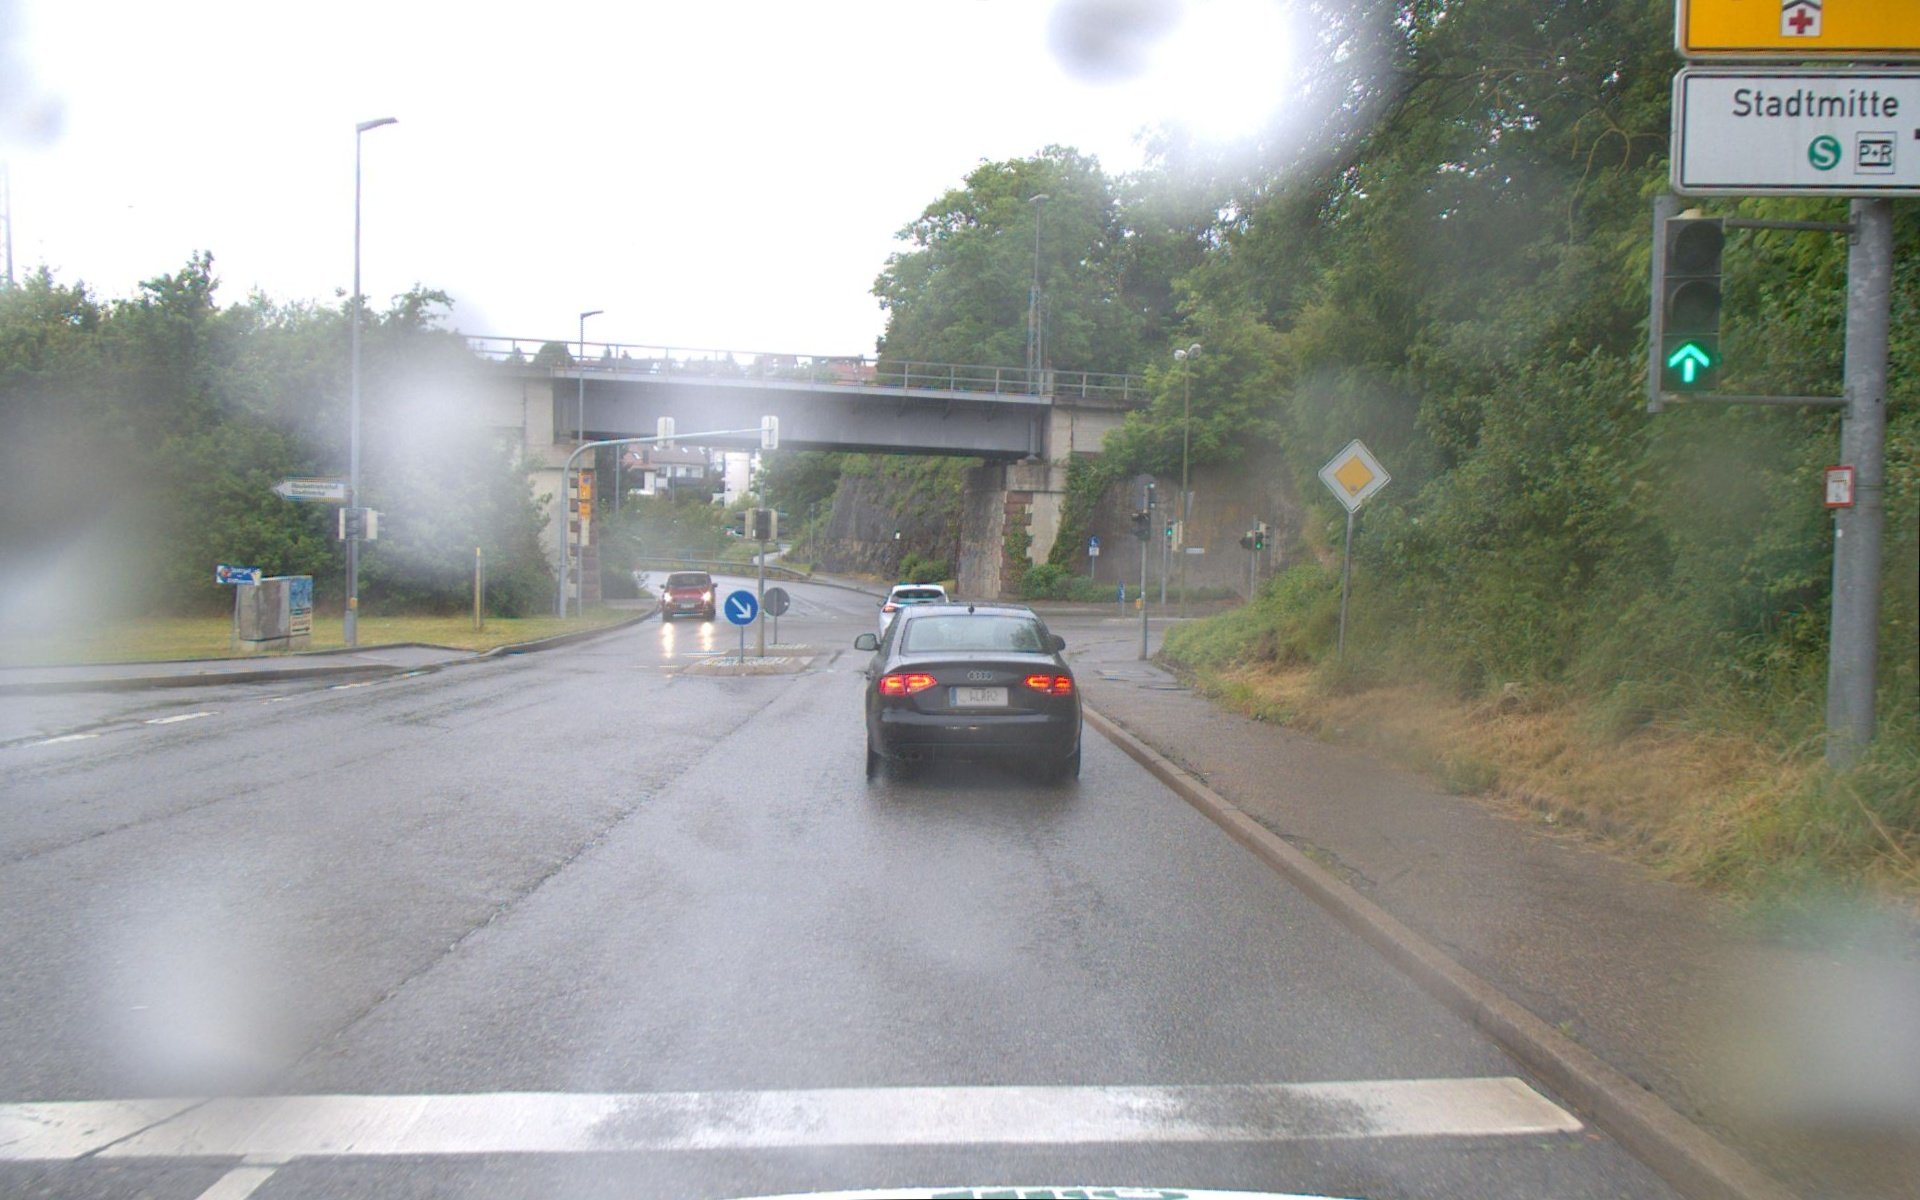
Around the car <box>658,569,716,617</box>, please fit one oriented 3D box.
[{"bbox_3d":[-9.936,-0.250,60.390,1.956,1.657,3.993,-1,0,-8],"label":"car"}]

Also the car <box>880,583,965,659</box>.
[{"bbox_3d":[-0.830,0.476,36.902,1.786,1.613,3.999,0,-1,-1],"label":"car"}]

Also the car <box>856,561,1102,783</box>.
[{"bbox_3d":[0.107,0.565,14.301,1.832,1.645,3.999,0,-1,-1],"label":"car"}]
